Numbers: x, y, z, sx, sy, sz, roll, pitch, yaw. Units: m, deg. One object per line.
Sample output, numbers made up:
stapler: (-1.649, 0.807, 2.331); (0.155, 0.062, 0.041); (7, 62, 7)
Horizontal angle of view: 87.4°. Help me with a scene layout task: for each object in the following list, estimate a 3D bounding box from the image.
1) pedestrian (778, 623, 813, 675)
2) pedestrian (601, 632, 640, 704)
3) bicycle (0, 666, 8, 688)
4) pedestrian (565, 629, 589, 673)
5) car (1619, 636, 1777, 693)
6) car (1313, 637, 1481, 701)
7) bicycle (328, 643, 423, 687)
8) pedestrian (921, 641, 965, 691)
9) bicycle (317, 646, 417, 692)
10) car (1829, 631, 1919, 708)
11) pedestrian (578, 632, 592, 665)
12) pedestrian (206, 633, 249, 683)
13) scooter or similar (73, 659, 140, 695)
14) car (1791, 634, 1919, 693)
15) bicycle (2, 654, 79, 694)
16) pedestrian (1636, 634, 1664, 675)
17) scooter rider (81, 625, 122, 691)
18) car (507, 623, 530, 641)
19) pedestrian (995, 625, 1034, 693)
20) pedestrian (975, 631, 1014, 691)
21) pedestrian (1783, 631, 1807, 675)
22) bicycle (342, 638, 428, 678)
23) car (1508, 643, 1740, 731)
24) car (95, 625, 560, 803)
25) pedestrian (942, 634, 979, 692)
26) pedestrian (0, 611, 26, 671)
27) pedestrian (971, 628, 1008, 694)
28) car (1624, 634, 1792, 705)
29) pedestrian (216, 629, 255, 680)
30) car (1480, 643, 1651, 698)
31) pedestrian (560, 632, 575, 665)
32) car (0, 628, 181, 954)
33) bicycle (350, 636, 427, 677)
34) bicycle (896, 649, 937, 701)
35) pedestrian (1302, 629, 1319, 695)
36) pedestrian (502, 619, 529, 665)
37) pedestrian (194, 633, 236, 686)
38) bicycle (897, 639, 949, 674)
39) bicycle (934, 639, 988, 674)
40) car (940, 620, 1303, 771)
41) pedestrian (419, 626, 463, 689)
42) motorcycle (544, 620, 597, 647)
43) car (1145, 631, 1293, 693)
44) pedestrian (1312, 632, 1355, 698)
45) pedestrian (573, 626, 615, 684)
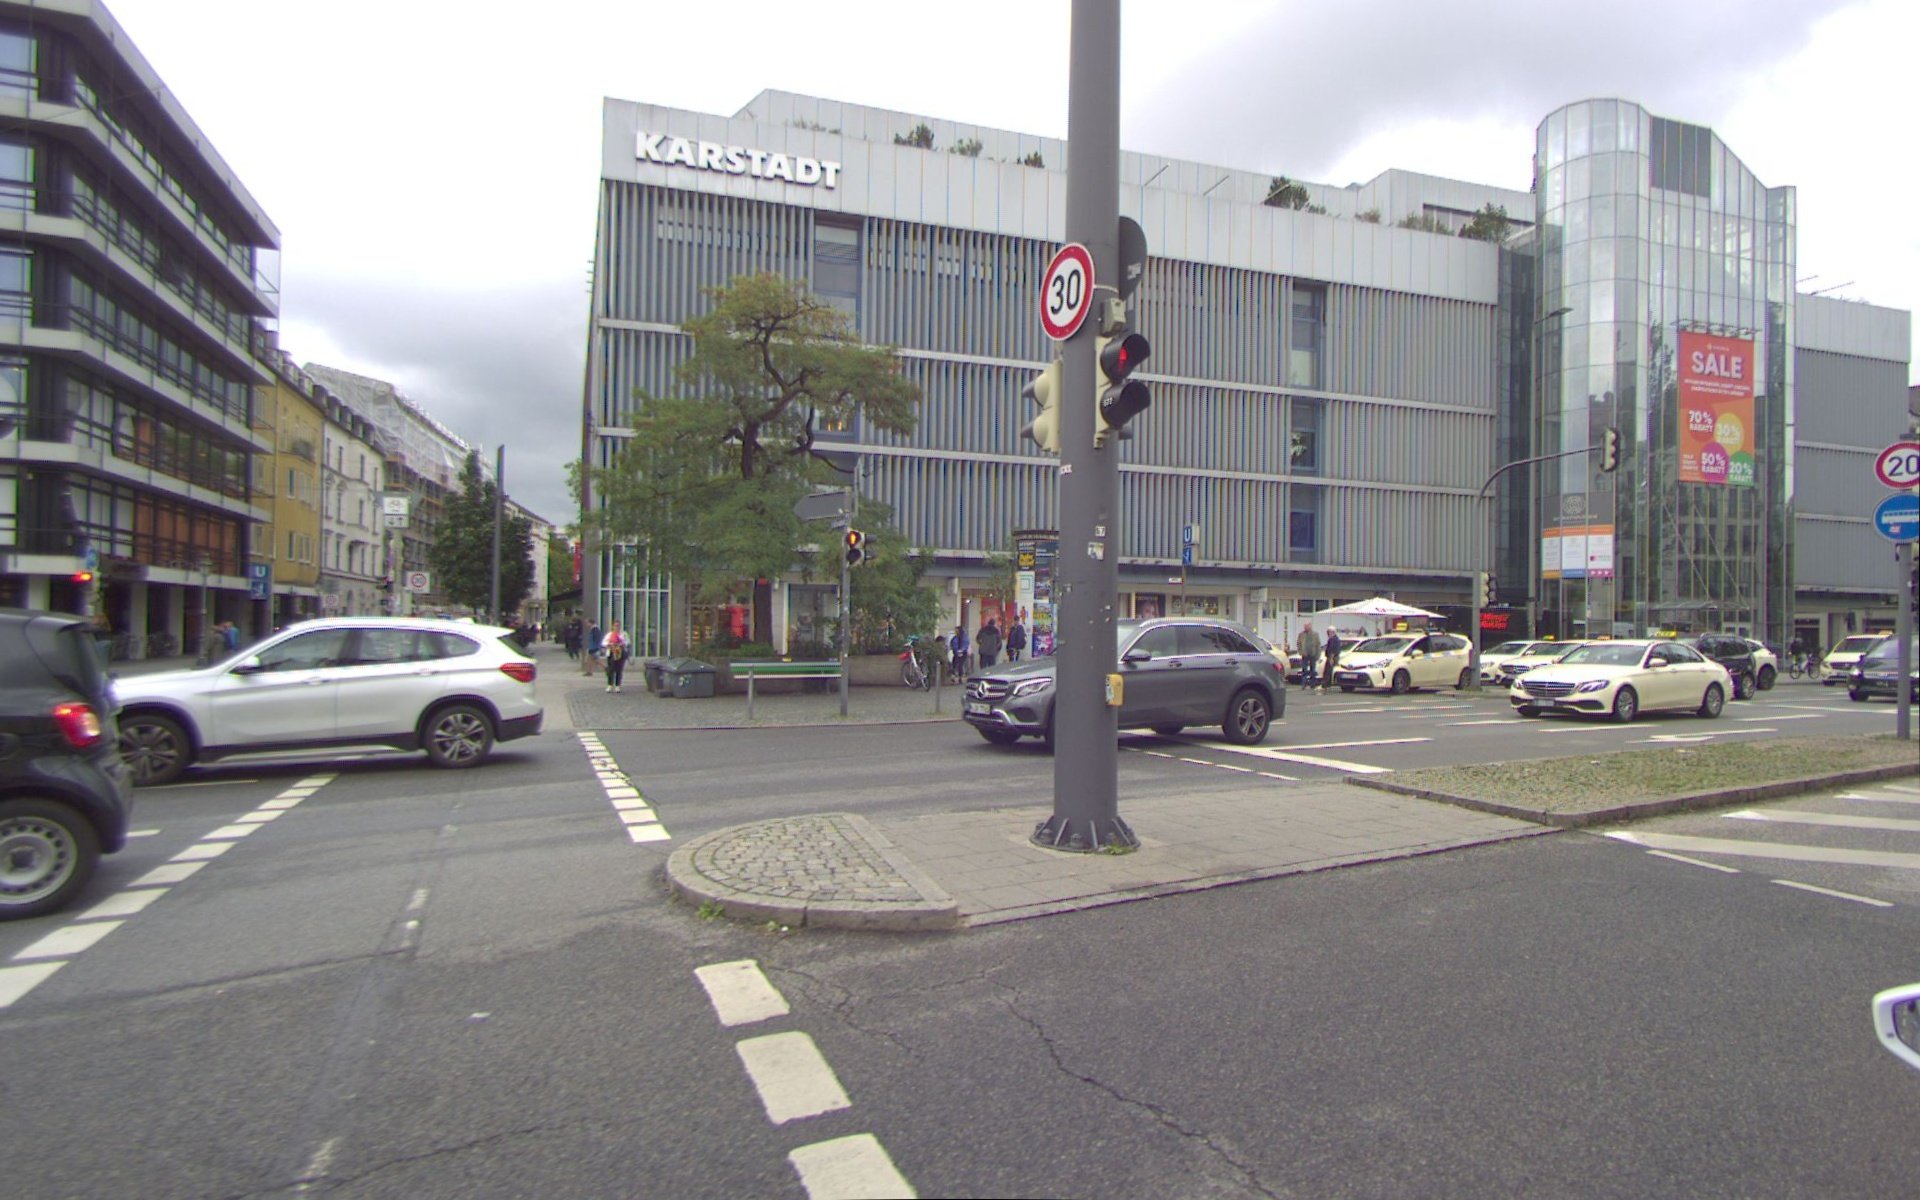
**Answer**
pedestrian: (-5.230, 1.552, 31.897); (0.962, 1.602, 0.796); (1, -1, -19)
pedestrian: (-7.705, 1.521, 22.795); (0.712, 1.595, 0.635); (1, -1, -30)
bicycle: (-28.332, 2.254, 29.049); (0.422, 0.641, 1.630); (1, -2, -15)
pedestrian: (-15.022, 2.000, 39.386); (0.774, 1.710, 0.784); (1, -1, -25)
car: (23.259, 2.012, 31.678); (4.116, 1.701, 1.993); (1, -2, -17)
car: (11.668, 1.791, 26.783); (4.340, 1.563, 1.893); (1, -2, -30)
bicycle: (-14.412, 1.618, 24.805); (1.963, 1.011, 0.524); (4, -2, -30)
pedestrian: (-0.457, 1.744, 26.633); (1.032, 1.292, 0.542); (1, -1, -29)
bicycle: (-14.026, 1.639, 23.817); (1.963, 1.011, 0.524); (4, -2, -30)
car: (23.864, 1.682, 25.047); (4.533, 1.761, 1.928); (1, -2, -29)
pedestrian: (-18.614, 2.404, 49.870); (0.646, 1.573, 0.678); (1, -1, -21)
pedestrian: (-24.081, 1.897, 33.020); (0.934, 1.609, 0.739); (1, -1, -18)
scooter or similar: (-24.393, 2.206, 28.715); (1.382, 0.995, 0.413); (1, -1, -19)
car: (33.631, 2.297, 37.472); (5.449, 2.040, 1.987); (1, -2, -26)
bicycle: (-26.704, 2.135, 29.196); (0.421, 1.088, 1.635); (0, -2, 18)
pedestrian: (29.229, 2.285, 42.556); (0.700, 1.714, 0.651); (1, -1, -17)
scooter rider: (-24.514, 1.643, 28.687); (0.657, 1.859, 0.618); (1, -1, -19)
car: (-45.450, 3.279, 103.456); (1.932, 1.774, 3.981); (1, -2, -21)
pedestrian: (1.462, 1.566, 26.905); (0.739, 1.796, 0.770); (-1, -1, 37)
pedestrian: (0.931, 1.642, 27.197); (0.742, 1.575, 0.767); (1, -1, -29)
pedestrian: (35.323, 2.232, 42.499); (0.618, 1.841, 0.557); (1, -1, -19)
bicycle: (-15.555, 1.571, 27.228); (1.963, 1.011, 0.524); (4, -2, -30)
car: (12.424, 1.539, 18.737); (4.583, 1.440, 1.757); (2, -2, -30)
car: (-6.588, 1.099, 10.903); (3.955, 1.617, 1.690); (2, -2, -31)
pedestrian: (0.014, 1.677, 27.025); (0.737, 1.513, 0.772); (0, -1, 25)
pedestrian: (-32.994, 1.391, 34.610); (0.905, 2.040, 0.831); (1, -1, -24)
pedestrian: (0.754, 1.555, 26.010); (0.740, 1.676, 0.770); (1, -1, -19)
car: (18.989, 1.707, 25.479); (4.205, 1.635, 1.831); (1, -1, -29)
pedestrian: (-24.380, 1.815, 33.824); (0.838, 1.676, 0.799); (1, -1, -18)
car: (17.978, 2.045, 29.830); (4.565, 1.528, 1.991); (1, -2, -21)
pedestrian: (-19.359, 2.383, 49.513); (0.646, 1.573, 0.678); (1, -1, -21)
car: (-5.628, 0.922, 4.932); (2.813, 1.554, 1.492); (2, -3, -39)
bicycle: (-16.396, 1.620, 28.867); (1.871, 1.126, 0.582); (3, -2, -30)
bicycle: (-1.034, 1.743, 23.645); (0.368, 1.126, 1.569); (1, -1, -25)
pedestrian: (9.570, 1.674, 27.434); (0.348, 1.783, 0.447); (0, -1, 6)
pedestrian: (-16.500, 1.555, 37.303); (0.838, 1.676, 0.799); (1, -1, -18)
pedestrian: (-23.838, 1.902, 32.138); (0.844, 1.663, 0.786); (1, -1, -18)
bicycle: (-1.365, 2.008, 36.304); (1.042, 1.172, 3.493); (1, -2, -16)
bicycle: (0.003, 2.046, 36.755); (1.042, 1.172, 3.493); (1, -2, -16)
car: (2.191, 1.133, 13.186); (4.675, 1.692, 1.735); (1, -2, -30)
pedestrian: (-13.746, 1.503, 26.619); (0.804, 1.640, 0.831); (2, -2, -44)
motorcycle: (-31.661, 2.716, 81.726); (3.860, 2.188, 1.173); (1, -1, -7)
car: (7.148, 1.626, 27.485); (4.385, 1.556, 1.974); (2, -2, -44)
pedestrian: (9.863, 1.710, 26.554); (0.741, 1.713, 0.768); (1, -1, -25)
pedestrian: (-11.069, 1.663, 30.390); (0.774, 1.710, 0.861); (0, -2, 29)
